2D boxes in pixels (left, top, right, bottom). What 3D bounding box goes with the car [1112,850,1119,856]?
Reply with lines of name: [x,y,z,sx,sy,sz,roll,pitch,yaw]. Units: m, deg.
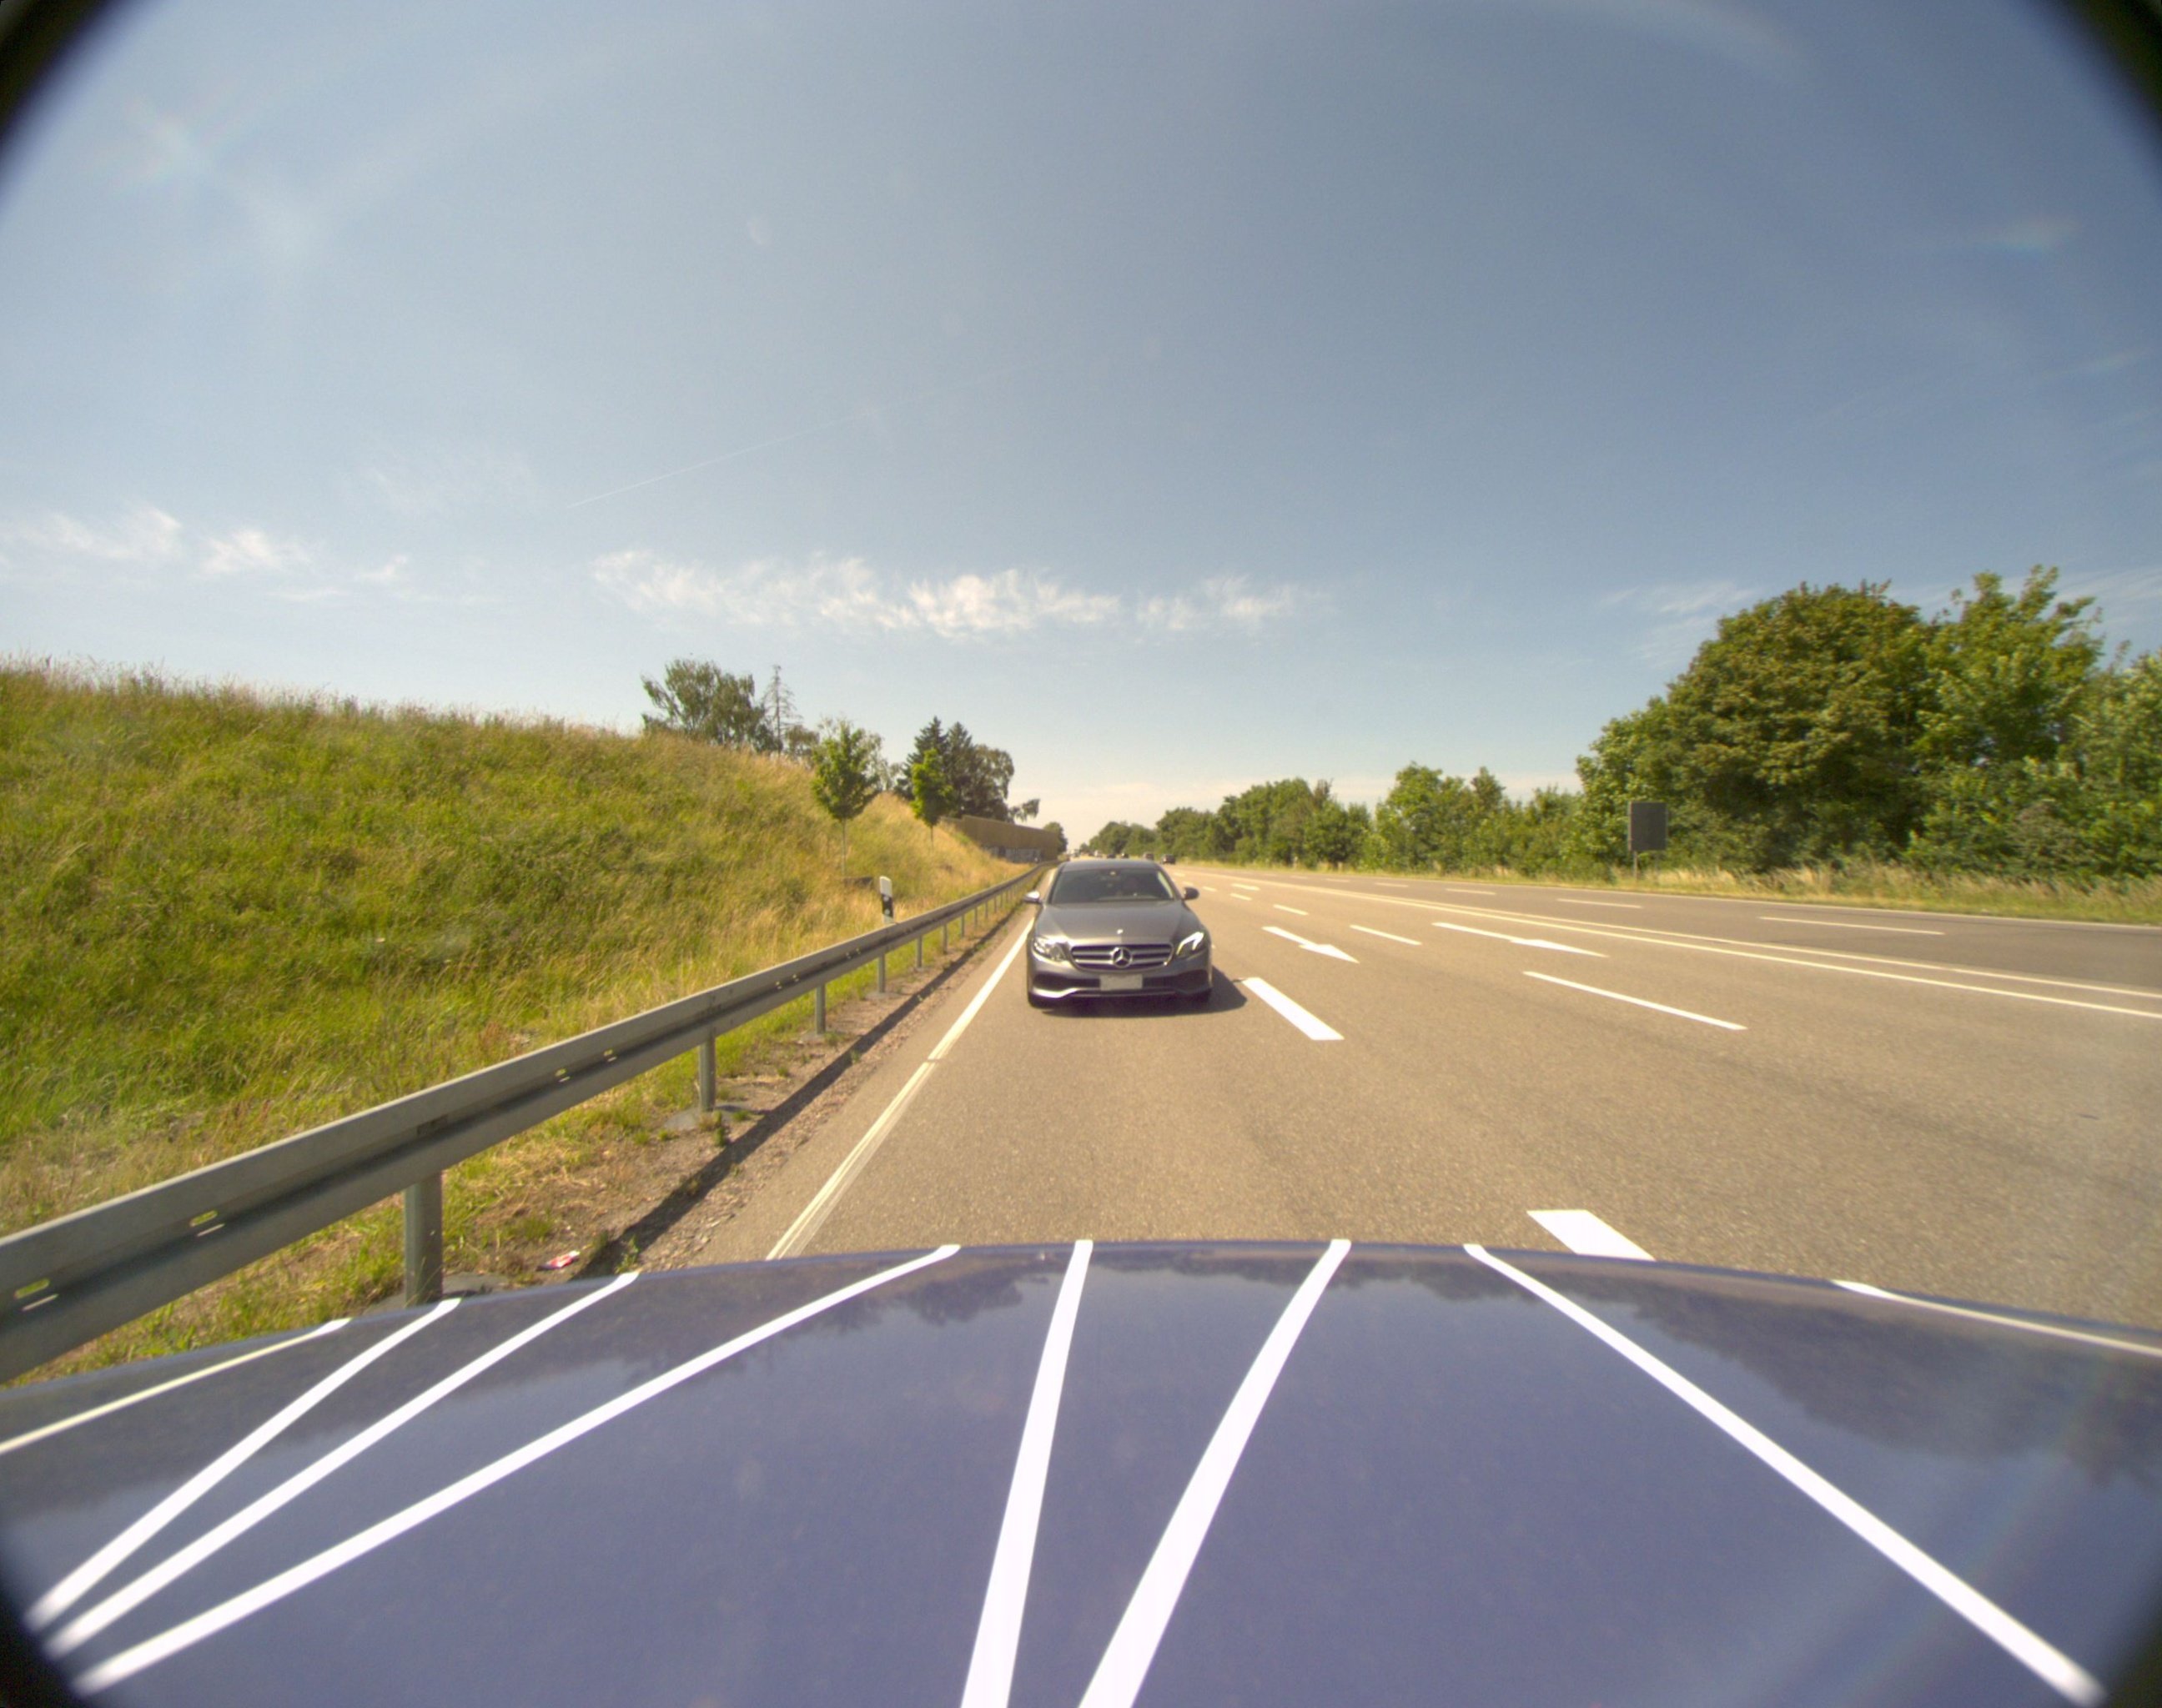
car: [9.685,-0.282,212.447,1.526,1.461,3.787,-2,1,-3]

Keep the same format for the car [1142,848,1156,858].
car: [12.151,-0.192,135.861,2.033,1.630,4.567,-2,1,-2]

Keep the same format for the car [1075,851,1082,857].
car: [-0.750,-0.024,224.388,1.801,1.674,3.999,-2,1,0]

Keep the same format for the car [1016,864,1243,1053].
car: [0.340,0.911,8.703,1.894,1.439,4.524,-1,1,-2]

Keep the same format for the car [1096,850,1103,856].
car: [5.580,-0.357,224.163,1.910,1.906,5.050,0,0,0]

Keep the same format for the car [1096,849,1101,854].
car: [6.061,-0.792,264.410,1.894,1.527,4.525,-1,1,0]

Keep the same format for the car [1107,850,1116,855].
car: [7.851,-0.321,196.118,1.810,1.272,4.763,-1,1,-4]

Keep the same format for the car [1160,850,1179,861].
car: [12.432,0.185,106.990,1.883,1.390,4.530,-1,1,-2]

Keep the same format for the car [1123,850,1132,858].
car: [9.795,0.021,160.165,1.649,1.479,3.557,-2,1,-2]
